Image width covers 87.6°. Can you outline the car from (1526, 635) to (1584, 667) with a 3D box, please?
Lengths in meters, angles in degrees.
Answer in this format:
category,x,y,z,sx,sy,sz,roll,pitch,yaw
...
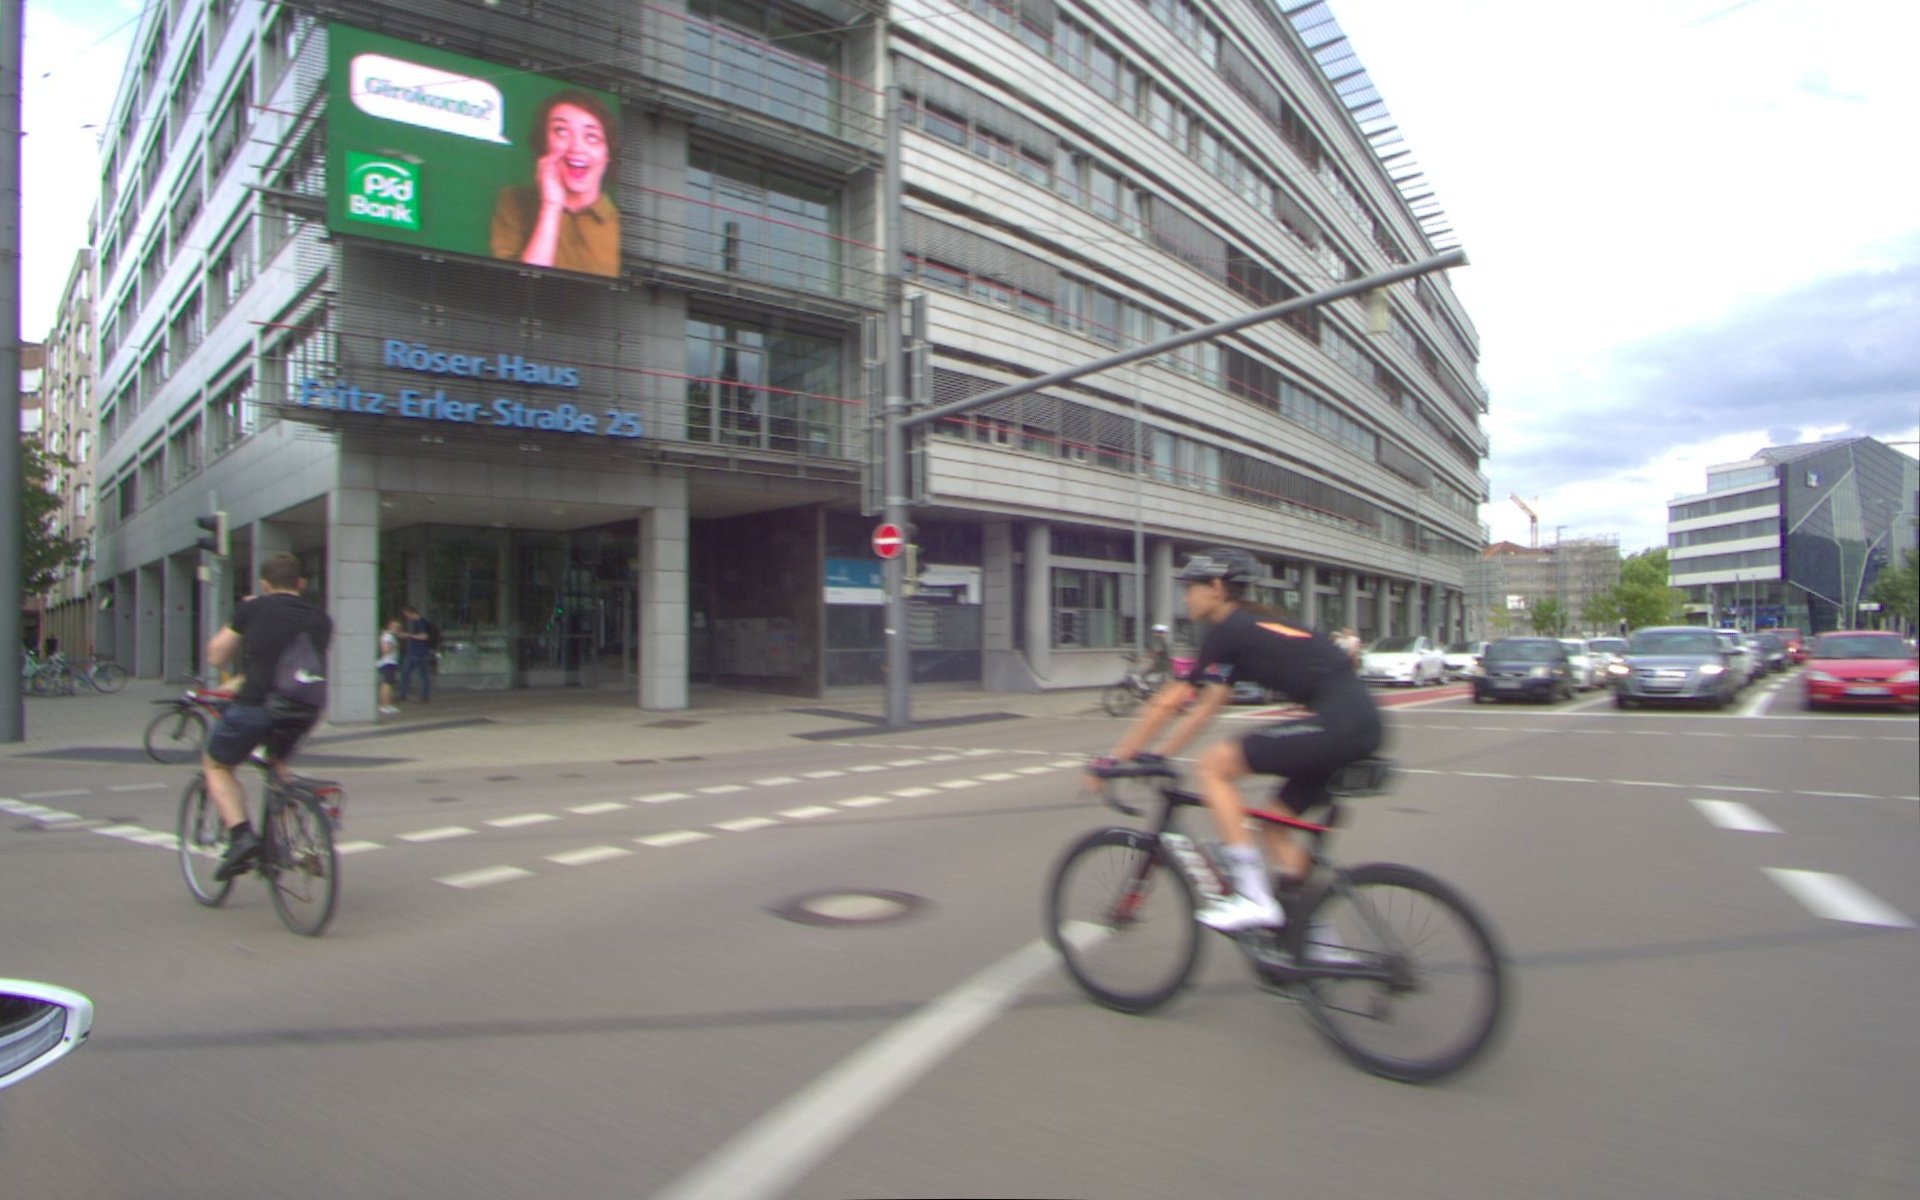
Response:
category,x,y,z,sx,sy,sz,roll,pitch,yaw
car,29.450,2.515,49.522,1.769,1.479,3.969,-3,-3,40

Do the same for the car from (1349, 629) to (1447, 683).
category,x,y,z,sx,sy,sz,roll,pitch,yaw
car,14.229,1.769,32.441,1.802,1.641,4.135,-2,-2,40

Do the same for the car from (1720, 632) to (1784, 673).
category,x,y,z,sx,sy,sz,roll,pitch,yaw
car,31.329,2.060,39.571,1.803,1.552,3.969,-3,-3,40

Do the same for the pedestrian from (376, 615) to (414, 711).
category,x,y,z,sx,sy,sz,roll,pitch,yaw
pedestrian,-10.505,1.159,18.614,0.549,1.749,0.492,1,0,-35

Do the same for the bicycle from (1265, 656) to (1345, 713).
category,x,y,z,sx,sy,sz,roll,pitch,yaw
bicycle,7.002,1.686,20.256,0.676,1.069,2.188,-4,-4,42

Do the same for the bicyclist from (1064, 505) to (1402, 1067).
category,x,y,z,sx,sy,sz,roll,pitch,yaw
bicyclist,0.954,0.565,3.516,1.020,1.675,0.588,0,-1,33

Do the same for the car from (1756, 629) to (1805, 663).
category,x,y,z,sx,sy,sz,roll,pitch,yaw
car,41.924,2.333,51.126,1.803,1.687,4.377,-3,-3,40

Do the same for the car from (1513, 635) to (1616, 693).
category,x,y,z,sx,sy,sz,roll,pitch,yaw
car,16.798,1.741,27.729,1.803,1.479,3.969,-3,-3,40

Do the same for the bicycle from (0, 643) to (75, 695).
category,x,y,z,sx,sy,sz,roll,pitch,yaw
bicycle,-21.913,1.607,23.368,0.485,1.153,1.849,0,-1,26

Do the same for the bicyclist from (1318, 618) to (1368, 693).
category,x,y,z,sx,sy,sz,roll,pitch,yaw
bicyclist,8.948,1.296,23.379,0.737,1.687,0.973,-3,-3,43

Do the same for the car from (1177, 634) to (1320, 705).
category,x,y,z,sx,sy,sz,roll,pitch,yaw
car,6.936,1.600,23.850,1.803,1.552,3.969,-3,-3,40

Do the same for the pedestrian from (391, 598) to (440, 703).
category,x,y,z,sx,sy,sz,roll,pitch,yaw
pedestrian,-10.944,0.996,20.129,0.666,2.040,0.599,3,1,39

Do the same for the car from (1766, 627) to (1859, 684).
category,x,y,z,sx,sy,sz,roll,pitch,yaw
car,23.505,1.506,27.653,1.803,1.451,3.969,-3,-3,40

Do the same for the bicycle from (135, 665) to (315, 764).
category,x,y,z,sx,sy,sz,roll,pitch,yaw
bicycle,-9.707,1.471,13.276,1.884,1.153,0.720,1,-1,-40

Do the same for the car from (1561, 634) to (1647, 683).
category,x,y,z,sx,sy,sz,roll,pitch,yaw
car,20.958,1.880,32.519,1.803,1.479,3.969,-3,-3,40

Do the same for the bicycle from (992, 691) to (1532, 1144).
category,x,y,z,sx,sy,sz,roll,pitch,yaw
bicycle,0.991,0.941,3.487,1.710,1.153,0.593,-1,-1,33

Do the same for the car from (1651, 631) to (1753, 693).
category,x,y,z,sx,sy,sz,roll,pitch,yaw
car,19.122,1.554,25.743,1.803,1.479,3.969,-3,-3,40

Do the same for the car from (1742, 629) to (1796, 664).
category,x,y,z,sx,sy,sz,roll,pitch,yaw
car,37.378,2.127,46.254,1.803,1.552,3.969,-3,-3,40

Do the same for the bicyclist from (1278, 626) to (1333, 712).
category,x,y,z,sx,sy,sz,roll,pitch,yaw
bicyclist,7.002,1.378,20.284,0.668,1.687,0.973,-3,-3,43

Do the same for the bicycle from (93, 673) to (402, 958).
category,x,y,z,sx,sy,sz,roll,pitch,yaw
bicycle,-3.725,0.996,5.167,2.061,1.153,0.593,-1,-1,33

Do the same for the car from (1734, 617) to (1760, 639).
category,x,y,z,sx,sy,sz,roll,pitch,yaw
car,73.995,2.629,94.164,1.802,2.045,3.969,-1,-2,40

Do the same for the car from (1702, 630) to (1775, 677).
category,x,y,z,sx,sy,sz,roll,pitch,yaw
car,27.210,1.857,34.969,1.803,1.552,3.969,-3,-3,40

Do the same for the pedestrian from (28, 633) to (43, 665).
category,x,y,z,sx,sy,sz,roll,pitch,yaw
pedestrian,-46.352,2.462,50.208,0.508,1.575,0.468,1,-1,-44

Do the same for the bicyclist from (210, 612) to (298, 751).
category,x,y,z,sx,sy,sz,roll,pitch,yaw
bicyclist,-9.491,1.063,13.463,0.906,1.787,0.713,0,-1,-40

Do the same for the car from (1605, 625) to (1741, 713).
category,x,y,z,sx,sy,sz,roll,pitch,yaw
car,14.192,1.305,19.833,1.803,1.552,4.188,-3,-3,40

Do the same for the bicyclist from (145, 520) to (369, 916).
category,x,y,z,sx,sy,sz,roll,pitch,yaw
bicyclist,-3.556,0.546,5.059,1.020,1.791,0.588,0,-1,33

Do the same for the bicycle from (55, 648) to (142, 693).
category,x,y,z,sx,sy,sz,roll,pitch,yaw
bicycle,-20.821,1.685,24.221,0.416,1.000,1.557,0,0,28

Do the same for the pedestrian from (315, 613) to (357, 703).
category,x,y,z,sx,sy,sz,roll,pitch,yaw
pedestrian,-12.418,1.142,19.928,0.636,1.749,0.542,1,0,44

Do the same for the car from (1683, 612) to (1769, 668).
category,x,y,z,sx,sy,sz,roll,pitch,yaw
car,23.050,1.216,30.089,1.803,1.552,3.969,-3,-3,40

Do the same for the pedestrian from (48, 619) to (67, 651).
category,x,y,z,sx,sy,sz,roll,pitch,yaw
pedestrian,-45.711,1.774,50.716,0.705,1.575,0.791,1,-1,-44

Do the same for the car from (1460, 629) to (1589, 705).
category,x,y,z,sx,sy,sz,roll,pitch,yaw
car,12.725,1.427,22.464,1.802,1.552,3.969,-2,-2,40

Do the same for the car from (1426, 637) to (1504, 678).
category,x,y,z,sx,sy,sz,roll,pitch,yaw
car,19.441,2.158,38.484,1.802,1.479,3.969,-1,-2,40

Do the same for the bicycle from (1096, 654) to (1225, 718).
category,x,y,z,sx,sy,sz,roll,pitch,yaw
bicycle,3.945,1.679,19.764,2.394,1.153,0.661,-1,-2,-9

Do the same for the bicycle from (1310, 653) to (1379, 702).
category,x,y,z,sx,sy,sz,roll,pitch,yaw
bicycle,9.006,1.791,23.403,0.742,1.069,2.203,-4,-4,42

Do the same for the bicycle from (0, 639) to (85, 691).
category,x,y,z,sx,sy,sz,roll,pitch,yaw
bicycle,-23.745,1.624,25.114,0.646,1.274,2.628,0,-2,33

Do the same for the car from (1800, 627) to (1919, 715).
category,x,y,z,sx,sy,sz,roll,pitch,yaw
car,16.739,1.255,18.512,1.803,1.451,3.969,-3,-3,40

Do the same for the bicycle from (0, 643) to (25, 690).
category,x,y,z,sx,sy,sz,roll,pitch,yaw
bicycle,-25.817,1.742,26.112,0.474,1.213,2.046,0,-1,40

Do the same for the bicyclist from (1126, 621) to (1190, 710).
category,x,y,z,sx,sy,sz,roll,pitch,yaw
bicyclist,3.908,1.286,19.770,1.015,1.695,0.661,-1,-2,-9

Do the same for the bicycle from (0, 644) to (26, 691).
category,x,y,z,sx,sy,sz,roll,pitch,yaw
bicycle,-25.398,1.748,25.791,0.474,1.213,1.900,0,-1,40

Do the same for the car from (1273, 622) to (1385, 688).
category,x,y,z,sx,sy,sz,roll,pitch,yaw
car,10.815,1.560,29.219,1.802,1.784,3.969,-2,-2,40
